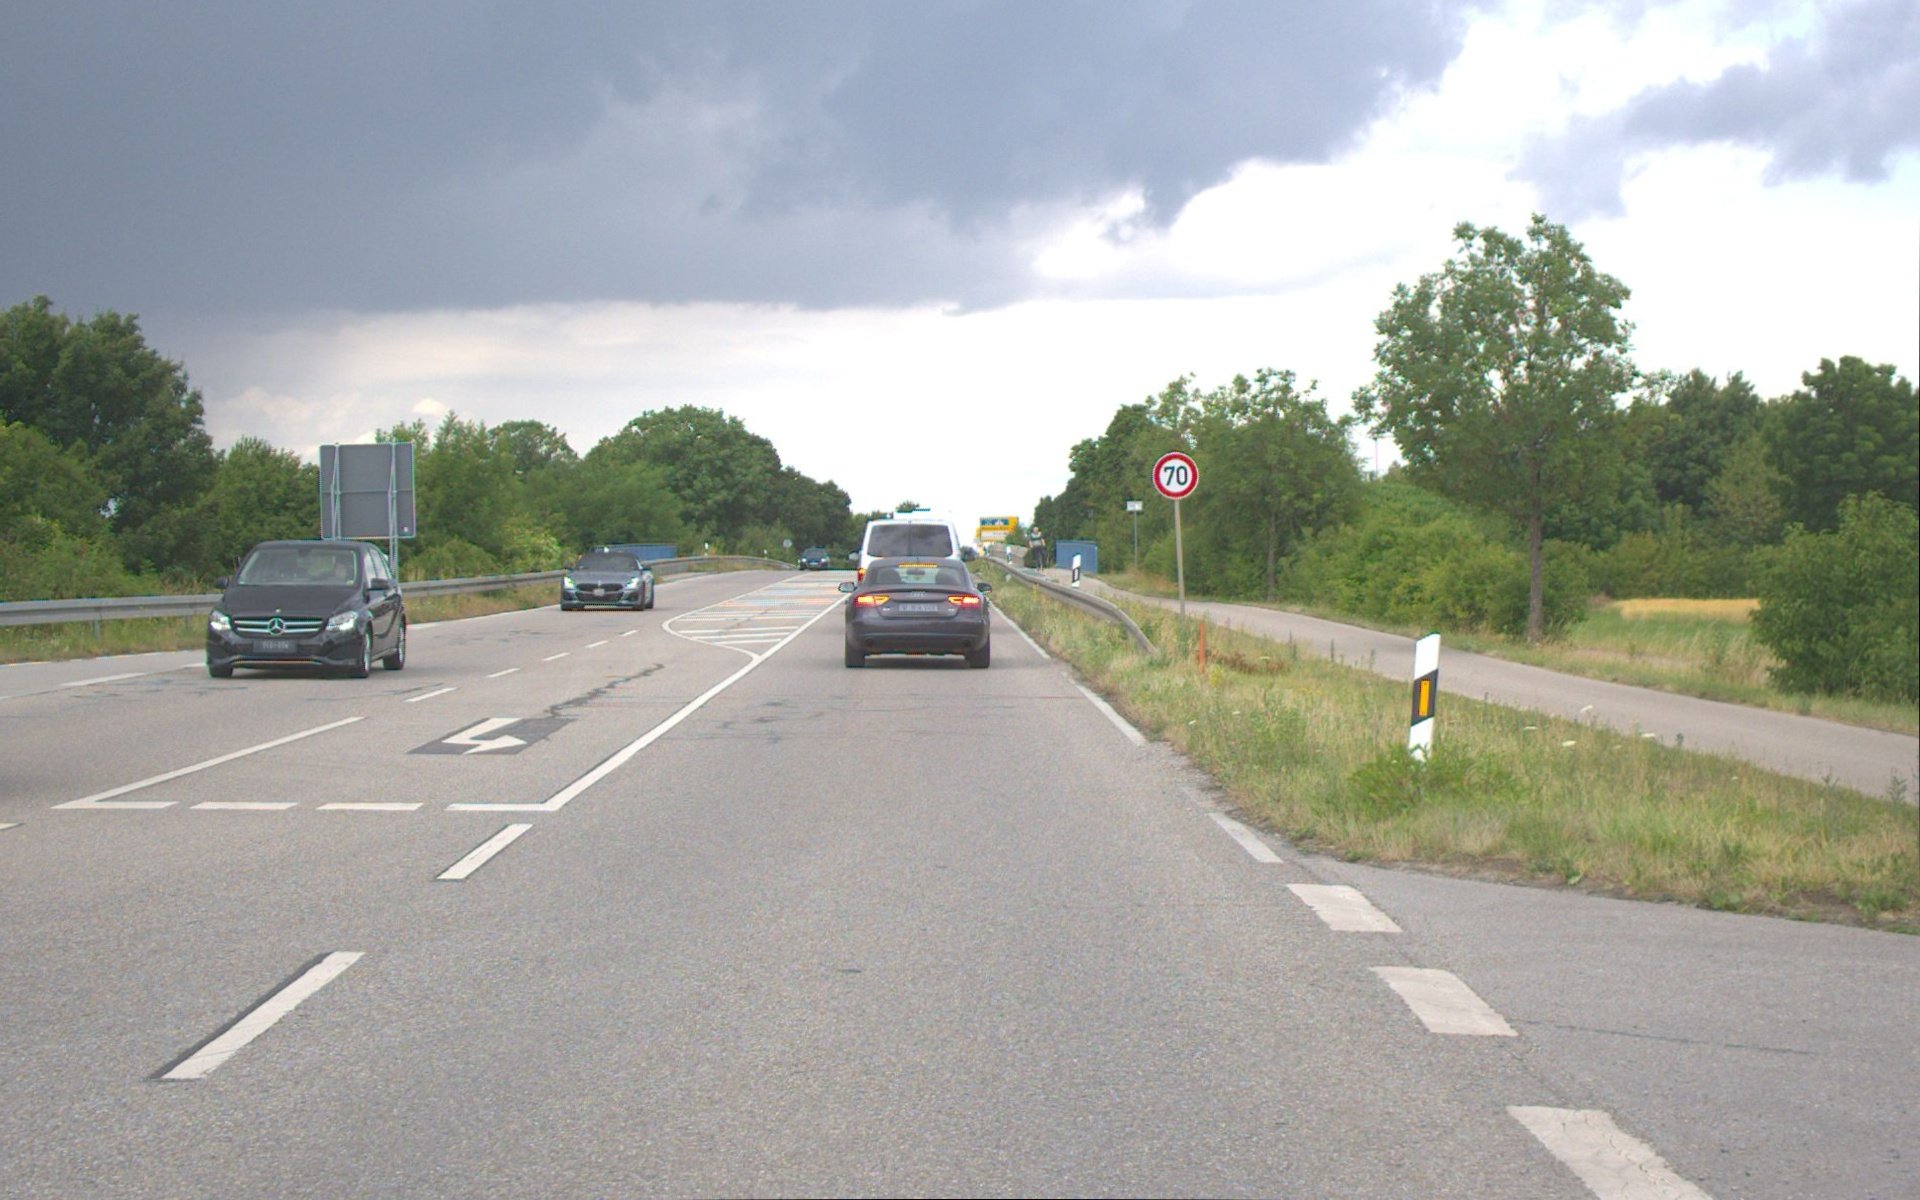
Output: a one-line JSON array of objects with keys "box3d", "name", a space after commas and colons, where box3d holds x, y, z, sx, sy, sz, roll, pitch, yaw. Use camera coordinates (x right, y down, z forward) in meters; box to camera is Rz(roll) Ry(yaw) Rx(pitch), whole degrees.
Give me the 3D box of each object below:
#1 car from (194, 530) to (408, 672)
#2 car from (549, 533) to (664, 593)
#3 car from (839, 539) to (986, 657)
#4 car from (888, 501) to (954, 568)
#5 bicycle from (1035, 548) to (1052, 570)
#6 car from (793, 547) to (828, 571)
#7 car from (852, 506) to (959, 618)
[{"box3d": [-7.544, -0.031, 39.706, 1.742, 1.525, 4.199, 0, 1, -1], "name": "car"}, {"box3d": [-7.965, -0.850, 77.830, 2.164, 1.280, 4.237, 1, 1, 0], "name": "car"}, {"box3d": [-0.601, -0.046, 44.050, 1.785, 1.419, 4.000, 1, 1, -1], "name": "car"}, {"box3d": [-1.472, -2.531, 132.470, 2.447, 2.495, 5.041, 1, 1, 0], "name": "car"}, {"box3d": [3.443, -1.701, 141.941, 0.666, 0.917, 1.830, -1, 1, -1], "name": "bicycle"}, {"box3d": [-9.085, -2.473, 209.123, 1.862, 1.371, 4.000, 2, 0, 0], "name": "car"}, {"box3d": [-0.941, -0.664, 60.053, 1.785, 1.883, 4.000, 1, 1, -1], "name": "car"}]
